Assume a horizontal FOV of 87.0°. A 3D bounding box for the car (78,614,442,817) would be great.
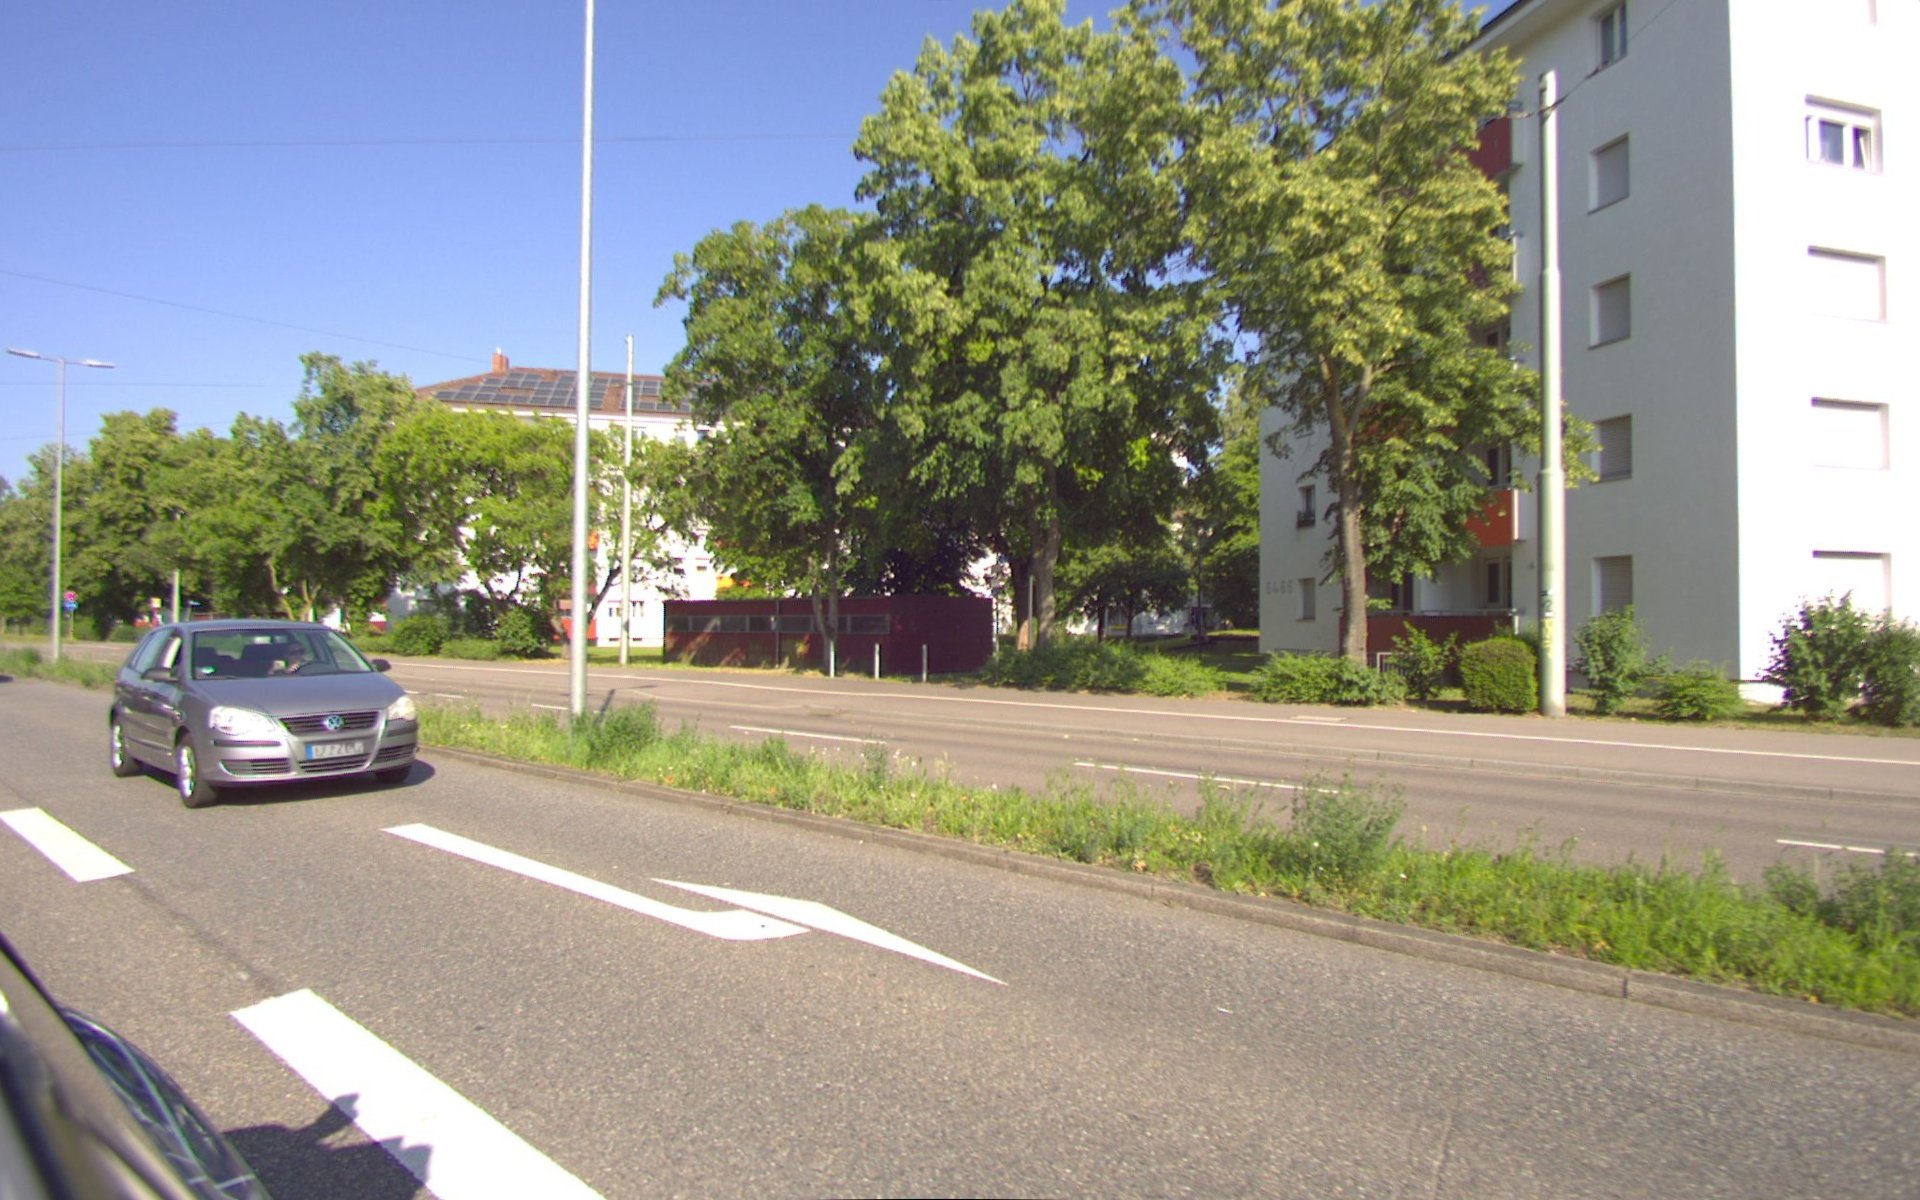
[{"bbox_3d":[-6.403,0.872,9.118,3.828,1.439,1.672,-1,-1,39],"label":"car"}]
